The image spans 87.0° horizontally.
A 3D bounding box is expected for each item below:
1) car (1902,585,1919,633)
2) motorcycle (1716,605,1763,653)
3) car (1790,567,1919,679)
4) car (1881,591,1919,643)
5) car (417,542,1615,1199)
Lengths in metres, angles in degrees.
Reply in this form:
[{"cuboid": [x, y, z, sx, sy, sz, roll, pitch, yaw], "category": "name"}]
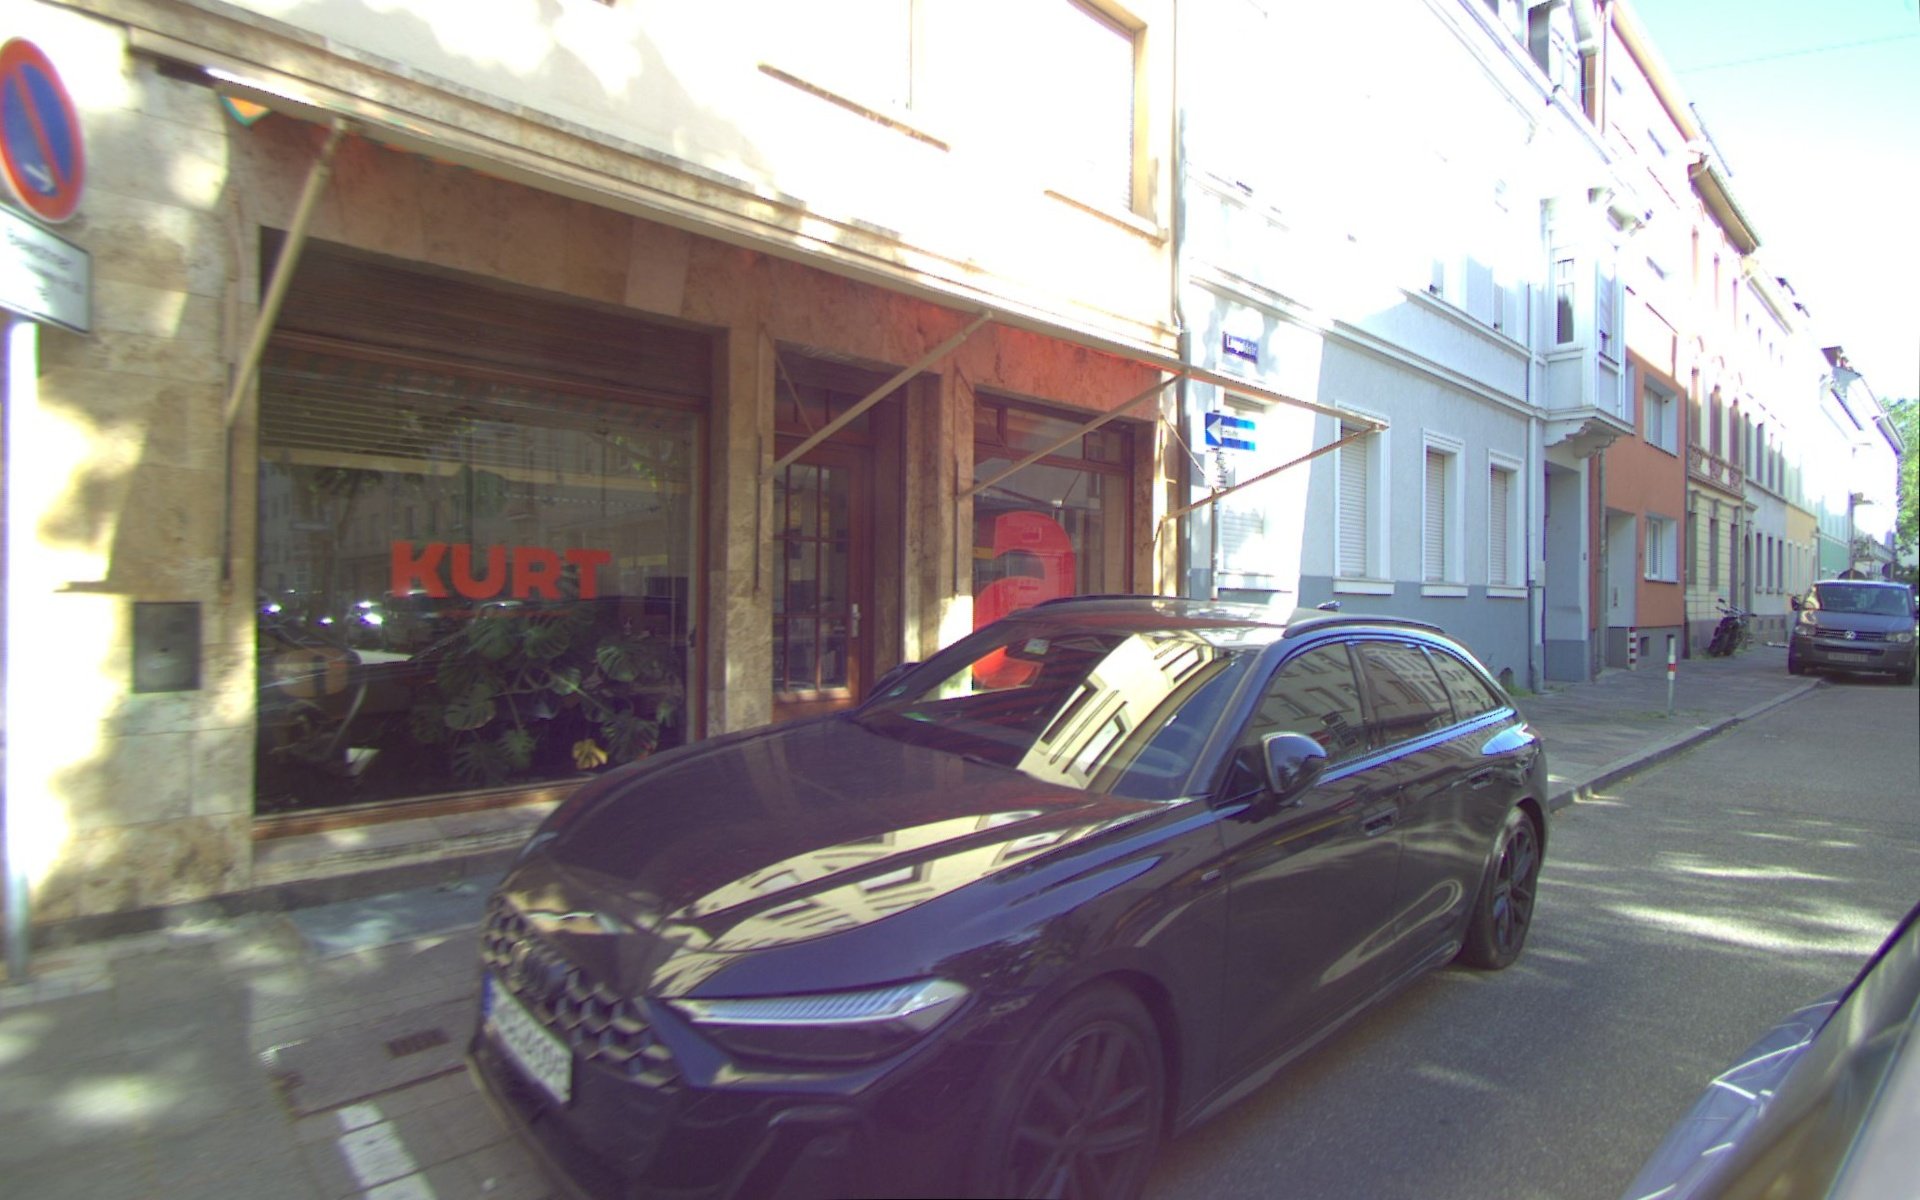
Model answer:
[{"cuboid": [40.385, 0.335, 41.802, 4.384, 1.910, 1.895, -1, 1, -44], "category": "car"}, {"cuboid": [19.045, 0.689, 24.714, 0.636, 1.057, 2.326, 0, 1, 45], "category": "motorcycle"}, {"cuboid": [18.627, 0.426, 20.756, 4.819, 2.055, 1.970, 0, -1, -45], "category": "car"}, {"cuboid": [31.175, 0.521, 32.776, 3.984, 1.562, 1.742, -1, 1, -44], "category": "car"}, {"cuboid": [0.807, 0.703, 3.887, 4.816, 1.599, 1.802, 0, 0, -44], "category": "car"}]
